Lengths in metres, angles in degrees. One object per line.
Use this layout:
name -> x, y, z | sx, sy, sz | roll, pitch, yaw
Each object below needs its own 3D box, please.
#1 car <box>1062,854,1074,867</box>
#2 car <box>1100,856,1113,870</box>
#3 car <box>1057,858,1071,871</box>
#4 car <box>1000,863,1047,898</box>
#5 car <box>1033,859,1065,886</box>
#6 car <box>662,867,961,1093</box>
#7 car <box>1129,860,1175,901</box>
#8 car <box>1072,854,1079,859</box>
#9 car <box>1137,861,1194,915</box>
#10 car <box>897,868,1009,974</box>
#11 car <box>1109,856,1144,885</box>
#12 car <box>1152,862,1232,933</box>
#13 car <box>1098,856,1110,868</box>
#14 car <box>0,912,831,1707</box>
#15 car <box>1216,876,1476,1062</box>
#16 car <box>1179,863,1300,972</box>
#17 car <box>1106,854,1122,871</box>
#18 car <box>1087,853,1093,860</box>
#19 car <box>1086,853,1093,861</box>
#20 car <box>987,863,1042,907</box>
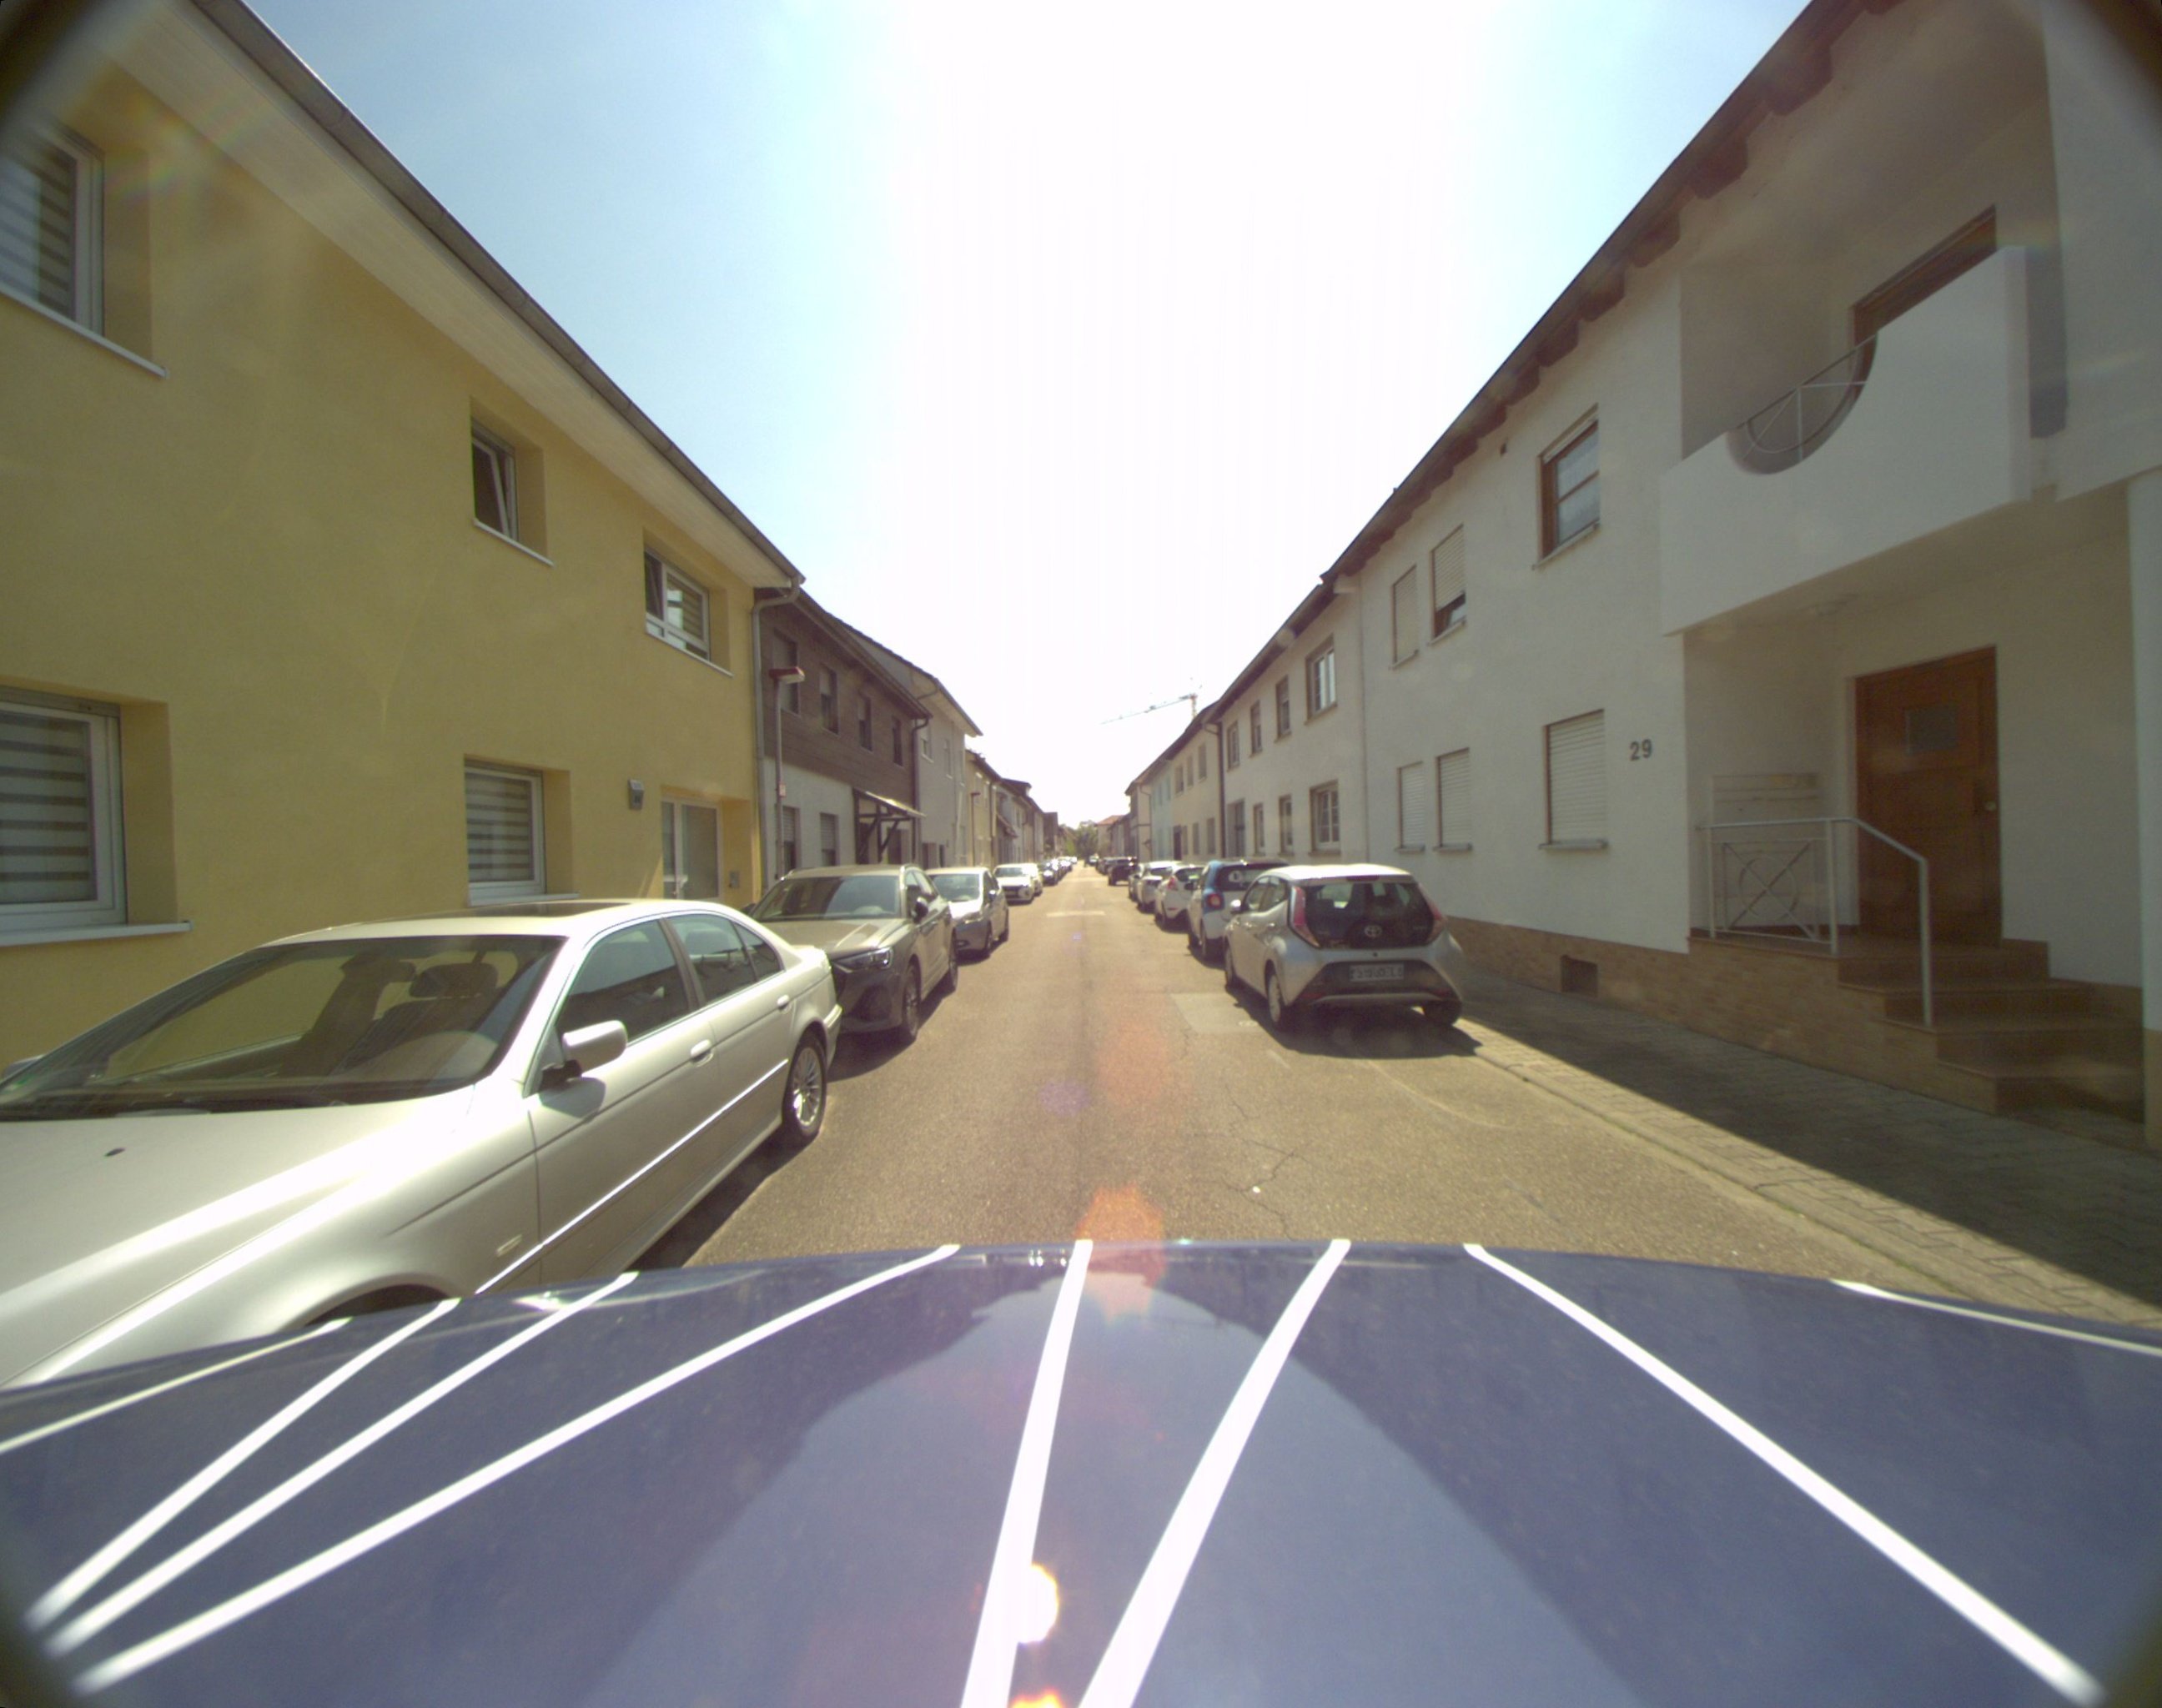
car -> -1.728, 0.880, 102.163 | 1.414, 1.604, 3.323 | -1, 0, 0
car -> 2.840, 0.984, 85.390 | 1.414, 1.582, 3.323 | -1, 0, 0
car -> -1.851, 1.122, 83.510 | 1.414, 1.389, 3.323 | -1, 0, 0
car -> -2.601, 1.191, 35.211 | 1.761, 1.351, 4.045 | -3, 0, 0
car -> -1.996, 1.123, 48.122 | 1.736, 1.502, 3.623 | -3, 0, 0
car -> -2.357, 0.993, 7.777 | 1.684, 1.575, 3.961 | -2, 0, -2
car -> 2.685, 0.969, 29.177 | 1.414, 1.446, 3.542 | -1, 0, 0
car -> -1.290, 0.468, 173.774 | 1.414, 1.111, 3.323 | -1, 0, 0
car -> 2.515, 0.980, 23.242 | 1.414, 1.446, 3.543 | -1, 0, 1
car -> -2.166, 1.090, 13.644 | 1.403, 1.518, 3.398 | -3, 0, -1
car -> 2.672, 0.936, 45.085 | 1.819, 1.598, 3.887 | -1, 0, 0
car -> 2.503, 0.942, 17.796 | 1.414, 1.446, 3.462 | -1, 0, 1
car -> 2.810, 0.994, 93.246 | 1.414, 1.389, 3.323 | -1, 0, 0
car -> -2.392, 1.077, 2.554 | 1.666, 1.406, 4.248 | -1, 0, 0
car -> 2.453, 0.990, 7.833 | 1.606, 1.434, 3.214 | -1, 0, 1
car -> 2.502, 0.949, 12.581 | 1.414, 1.519, 3.025 | -1, 0, 1
car -> 3.076, 0.769, 71.561 | 1.414, 1.582, 3.542 | -1, 0, 0
car -> 1.967, 0.523, 164.515 | 1.414, 1.389, 3.323 | -1, 0, 0
car -> 1.734, 0.608, 150.343 | 1.414, 1.389, 3.323 | -1, 0, 0
car -> -2.520, 1.146, 29.565 | 1.743, 1.459, 4.045 | -3, 0, -1
